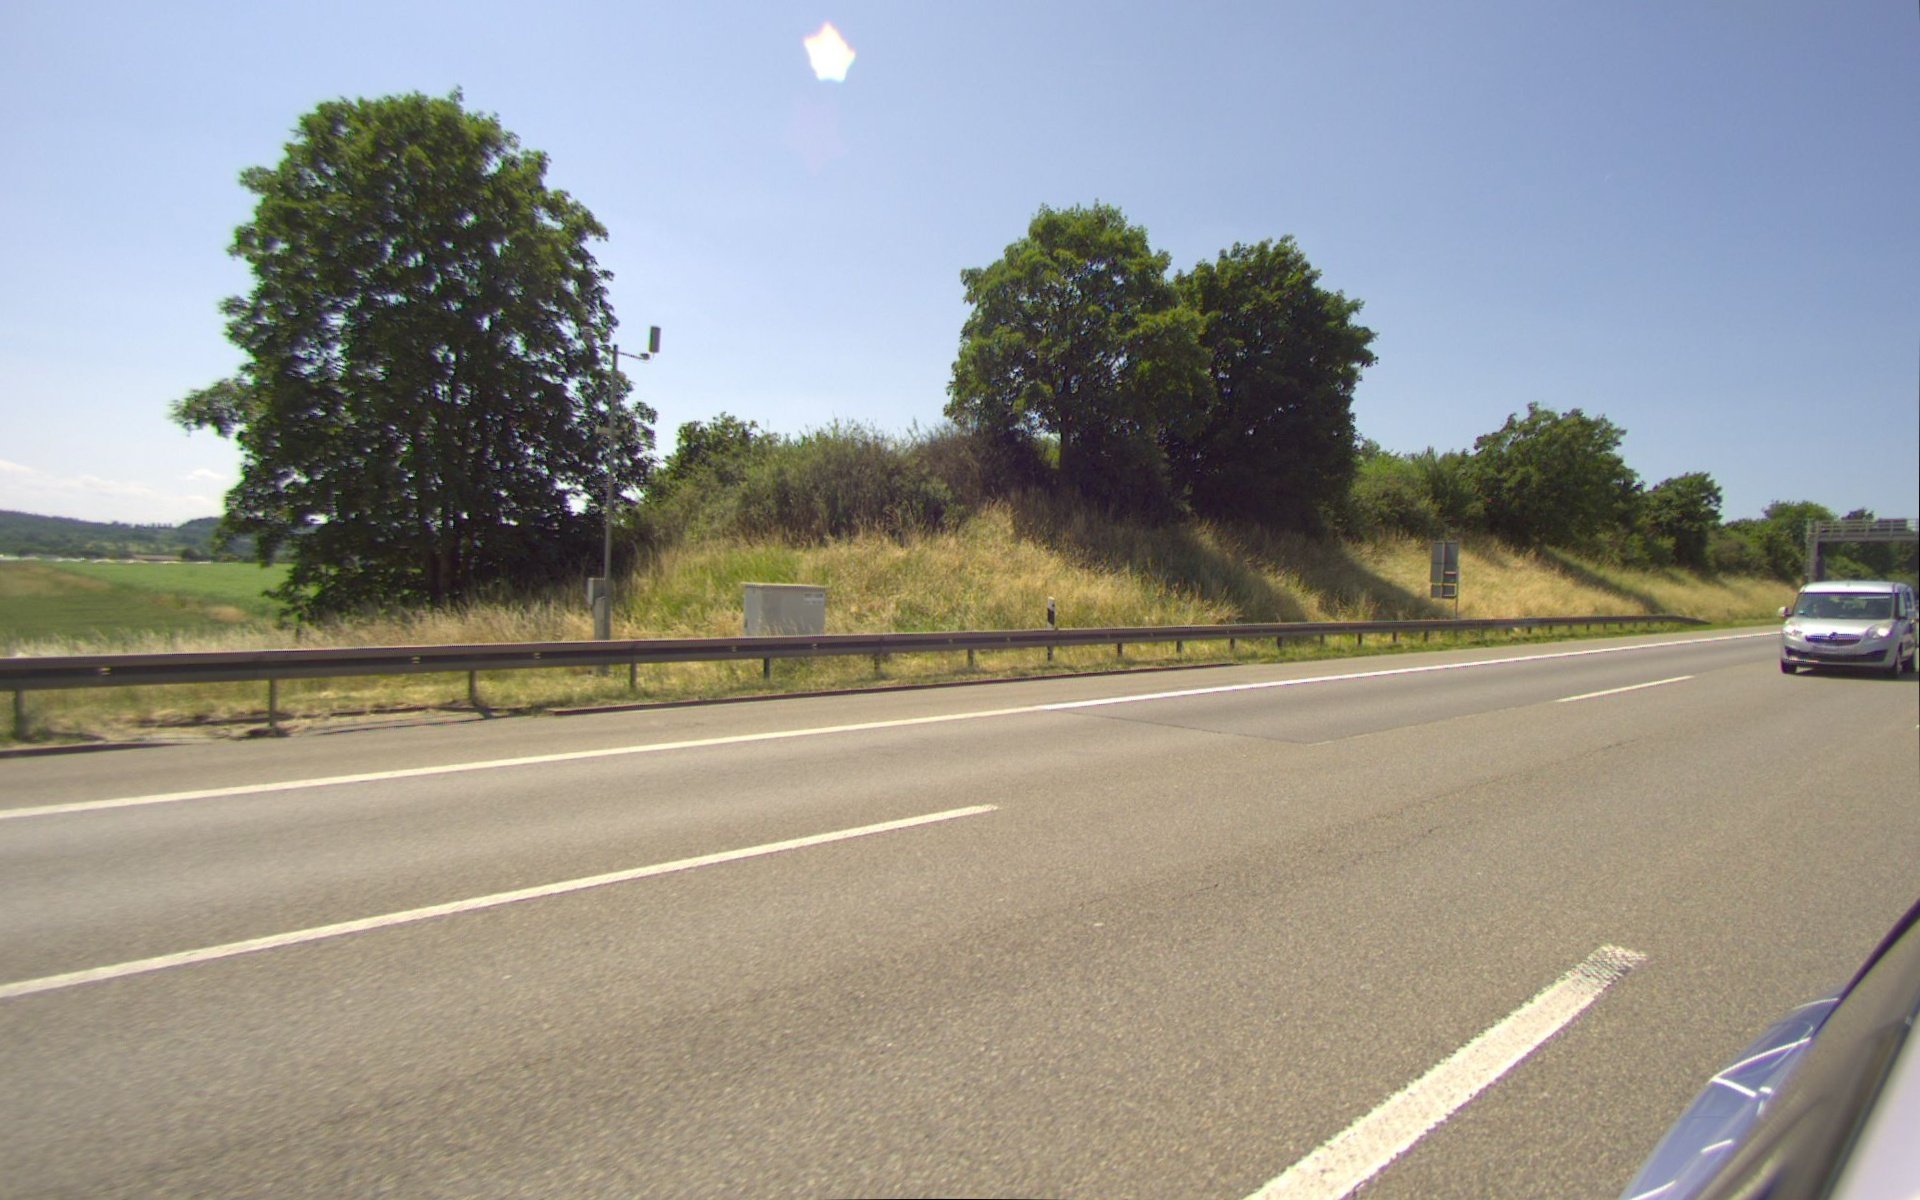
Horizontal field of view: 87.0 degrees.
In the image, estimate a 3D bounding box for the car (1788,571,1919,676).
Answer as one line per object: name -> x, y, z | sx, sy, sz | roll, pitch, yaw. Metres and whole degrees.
car -> 18.407, 0.402, 20.487 | 5.221, 1.870, 1.810 | 0, 1, -42
